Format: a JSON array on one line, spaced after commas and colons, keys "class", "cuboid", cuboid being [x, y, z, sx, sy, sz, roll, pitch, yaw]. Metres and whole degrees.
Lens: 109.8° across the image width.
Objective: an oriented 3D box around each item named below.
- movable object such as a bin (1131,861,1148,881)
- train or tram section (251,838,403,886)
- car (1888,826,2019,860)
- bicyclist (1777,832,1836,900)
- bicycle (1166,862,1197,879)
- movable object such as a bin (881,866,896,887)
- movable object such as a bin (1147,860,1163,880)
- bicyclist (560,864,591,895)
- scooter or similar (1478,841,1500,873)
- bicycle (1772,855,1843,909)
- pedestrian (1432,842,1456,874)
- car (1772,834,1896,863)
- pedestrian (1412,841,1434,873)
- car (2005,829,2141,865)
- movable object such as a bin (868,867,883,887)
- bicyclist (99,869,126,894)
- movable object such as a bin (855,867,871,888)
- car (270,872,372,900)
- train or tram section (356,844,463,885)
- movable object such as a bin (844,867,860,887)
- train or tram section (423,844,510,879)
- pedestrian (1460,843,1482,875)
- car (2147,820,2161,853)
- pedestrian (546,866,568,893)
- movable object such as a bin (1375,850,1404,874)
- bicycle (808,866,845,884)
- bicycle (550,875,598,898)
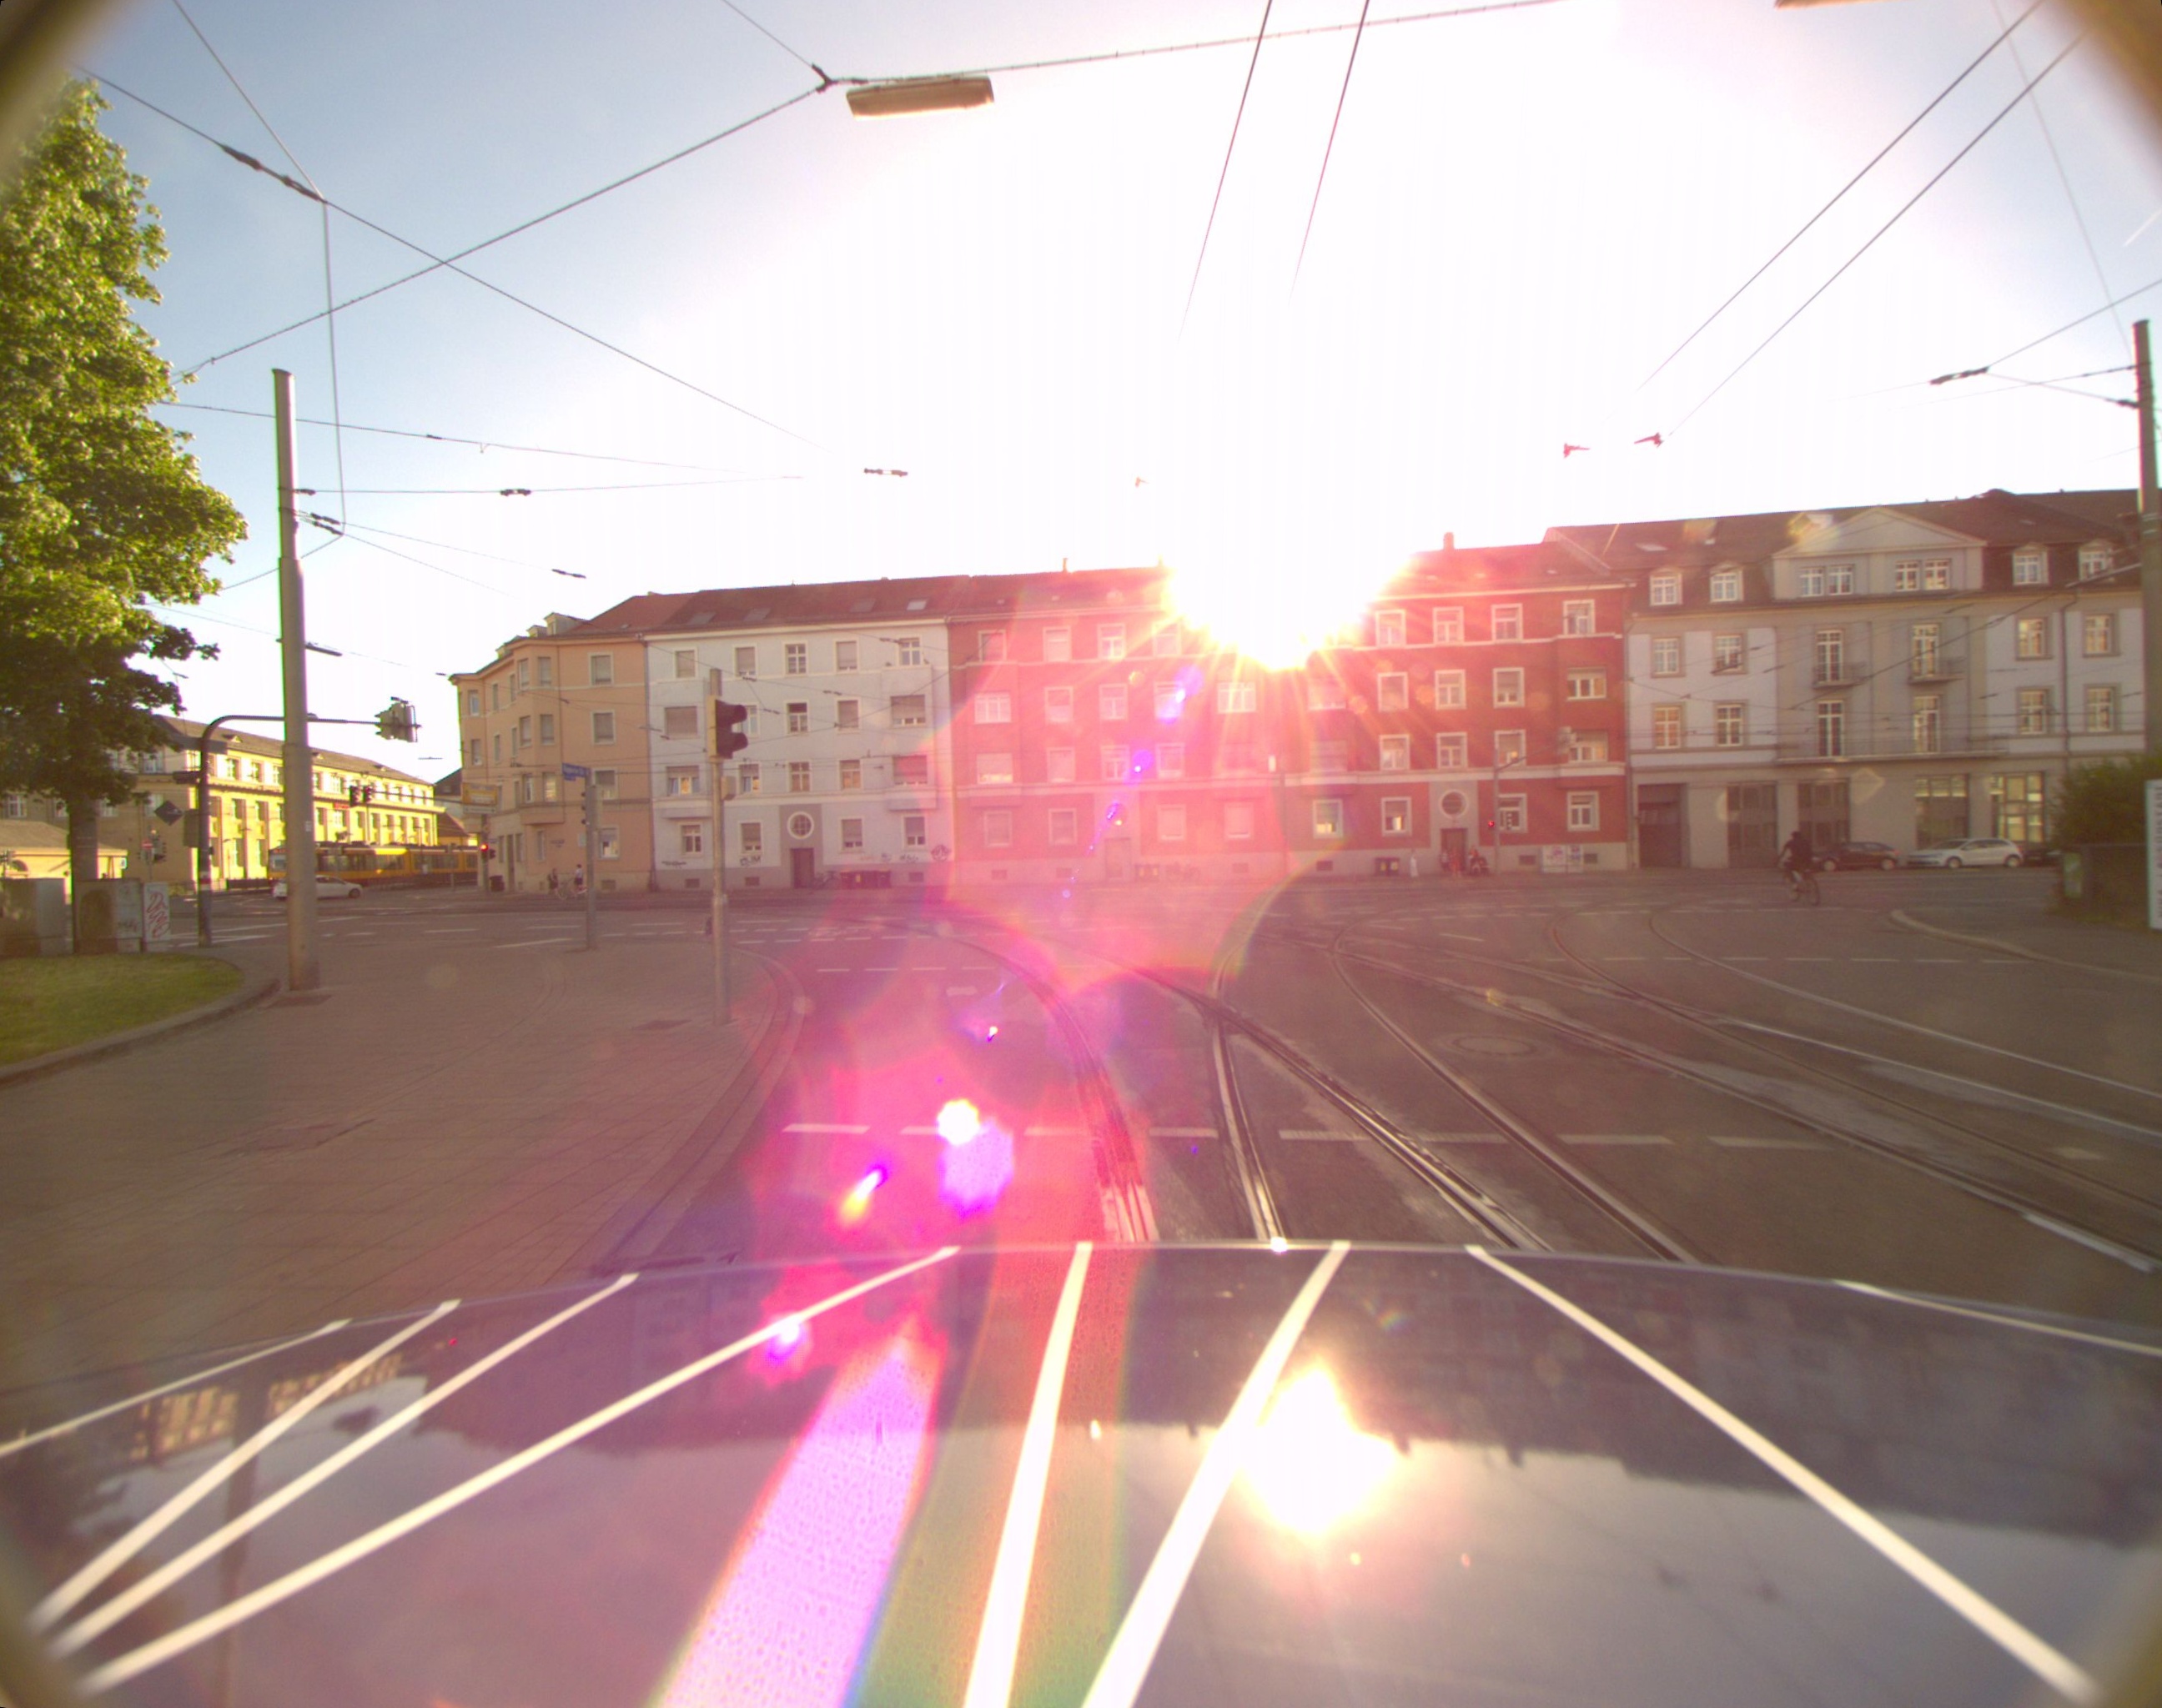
[{"class": "movable object such as a bin", "cuboid": [3.180, 0.921, 41.418, 0.811, 1.034, 0.845, -2, 1, 0]}, {"class": "train or tram section", "cuboid": [-58.941, 0.535, 60.018, 3.170, 3.302, 11.800, -2, 1, -17]}, {"class": "car", "cuboid": [41.283, -0.524, 36.029, 3.995, 1.444, 1.725, -2, 0, 4]}, {"class": "bicyclist", "cuboid": [16.837, 0.259, 17.656, 0.877, 1.517, 1.053, -1, 1, 39]}, {"class": "bicycle", "cuboid": [5.479, 0.922, 41.439, 1.602, 0.885, 0.336, -1, 1, 9]}, {"class": "movable object such as a bin", "cuboid": [-10.807, 1.262, 42.579, 0.582, 1.100, 0.704, -1, 1, 4]}, {"class": "movable object such as a bin", "cuboid": [4.035, 0.872, 41.416, 0.811, 1.034, 0.845, -2, 1, 0]}, {"class": "bicyclist", "cuboid": [-27.697, 1.377, 41.619, 1.124, 1.633, 0.749, -1, 1, 5]}, {"class": "scooter or similar", "cuboid": [21.192, 0.136, 39.508, 0.796, 1.624, 0.653, -2, 1, -28]}, {"class": "bicycle", "cuboid": [16.882, 0.622, 17.703, 0.893, 1.119, 2.069, -1, 1, 35]}, {"class": "pedestrian", "cuboid": [19.055, 0.192, 39.865, 0.796, 1.624, 0.829, -2, 1, -33]}, {"class": "car", "cuboid": [35.695, -0.259, 36.087, 3.995, 1.225, 1.725, -2, 0, 4]}, {"class": "pedestrian", "cuboid": [17.958, 0.163, 39.907, 0.655, 1.624, 0.794, -2, 1, -17]}, {"class": "car", "cuboid": [46.207, -0.309, 35.457, 3.852, 1.543, 1.725, -2, 0, 4]}, {"class": "movable object such as a bin", "cuboid": [-11.519, 1.304, 42.666, 0.582, 1.100, 0.704, -1, 1, 4]}, {"class": "bicyclist", "cuboid": [-64.668, 1.844, 50.729, 0.678, 1.630, 0.938, -2, 2, -22]}, {"class": "movable object such as a bin", "cuboid": [-12.274, 1.321, 42.760, 0.582, 1.100, 0.704, -1, 1, 4]}, {"class": "car", "cuboid": [-45.521, 1.898, 45.651, 1.790, 1.386, 4.106, -2, 1, 4]}, {"class": "train or tram section", "cuboid": [-62.150, 0.829, 70.762, 3.168, 3.337, 10.663, -2, 2, -17]}, {"class": "movable object such as a bin", "cuboid": [-12.881, 1.287, 42.778, 0.648, 1.100, 0.704, -1, 1, 4]}, {"class": "train or tram section", "cuboid": [-65.226, 0.648, 81.018, 3.168, 3.337, 10.831, -2, 2, -17]}, {"class": "pedestrian", "cuboid": [20.477, 0.257, 39.889, 0.796, 1.624, 0.653, -2, 1, -28]}, {"class": "car", "cuboid": [52.962, -0.899, 35.208, 4.269, 1.543, 1.842, -2, 0, 4]}, {"class": "pedestrian", "cuboid": [-30.218, 1.464, 43.822, 0.719, 1.554, 0.677, -2, 1, 6]}, {"class": "movable object such as a bin", "cuboid": [16.432, 0.421, 40.474, 1.231, 1.242, 0.874, -1, 1, 11]}, {"class": "bicycle", "cuboid": [-14.383, 1.187, 42.913, 1.875, 0.974, 0.607, -1, 2, 4]}, {"class": "bicycle", "cuboid": [-27.774, 1.790, 41.632, 2.150, 1.184, 0.749, -2, 1, 5]}]
